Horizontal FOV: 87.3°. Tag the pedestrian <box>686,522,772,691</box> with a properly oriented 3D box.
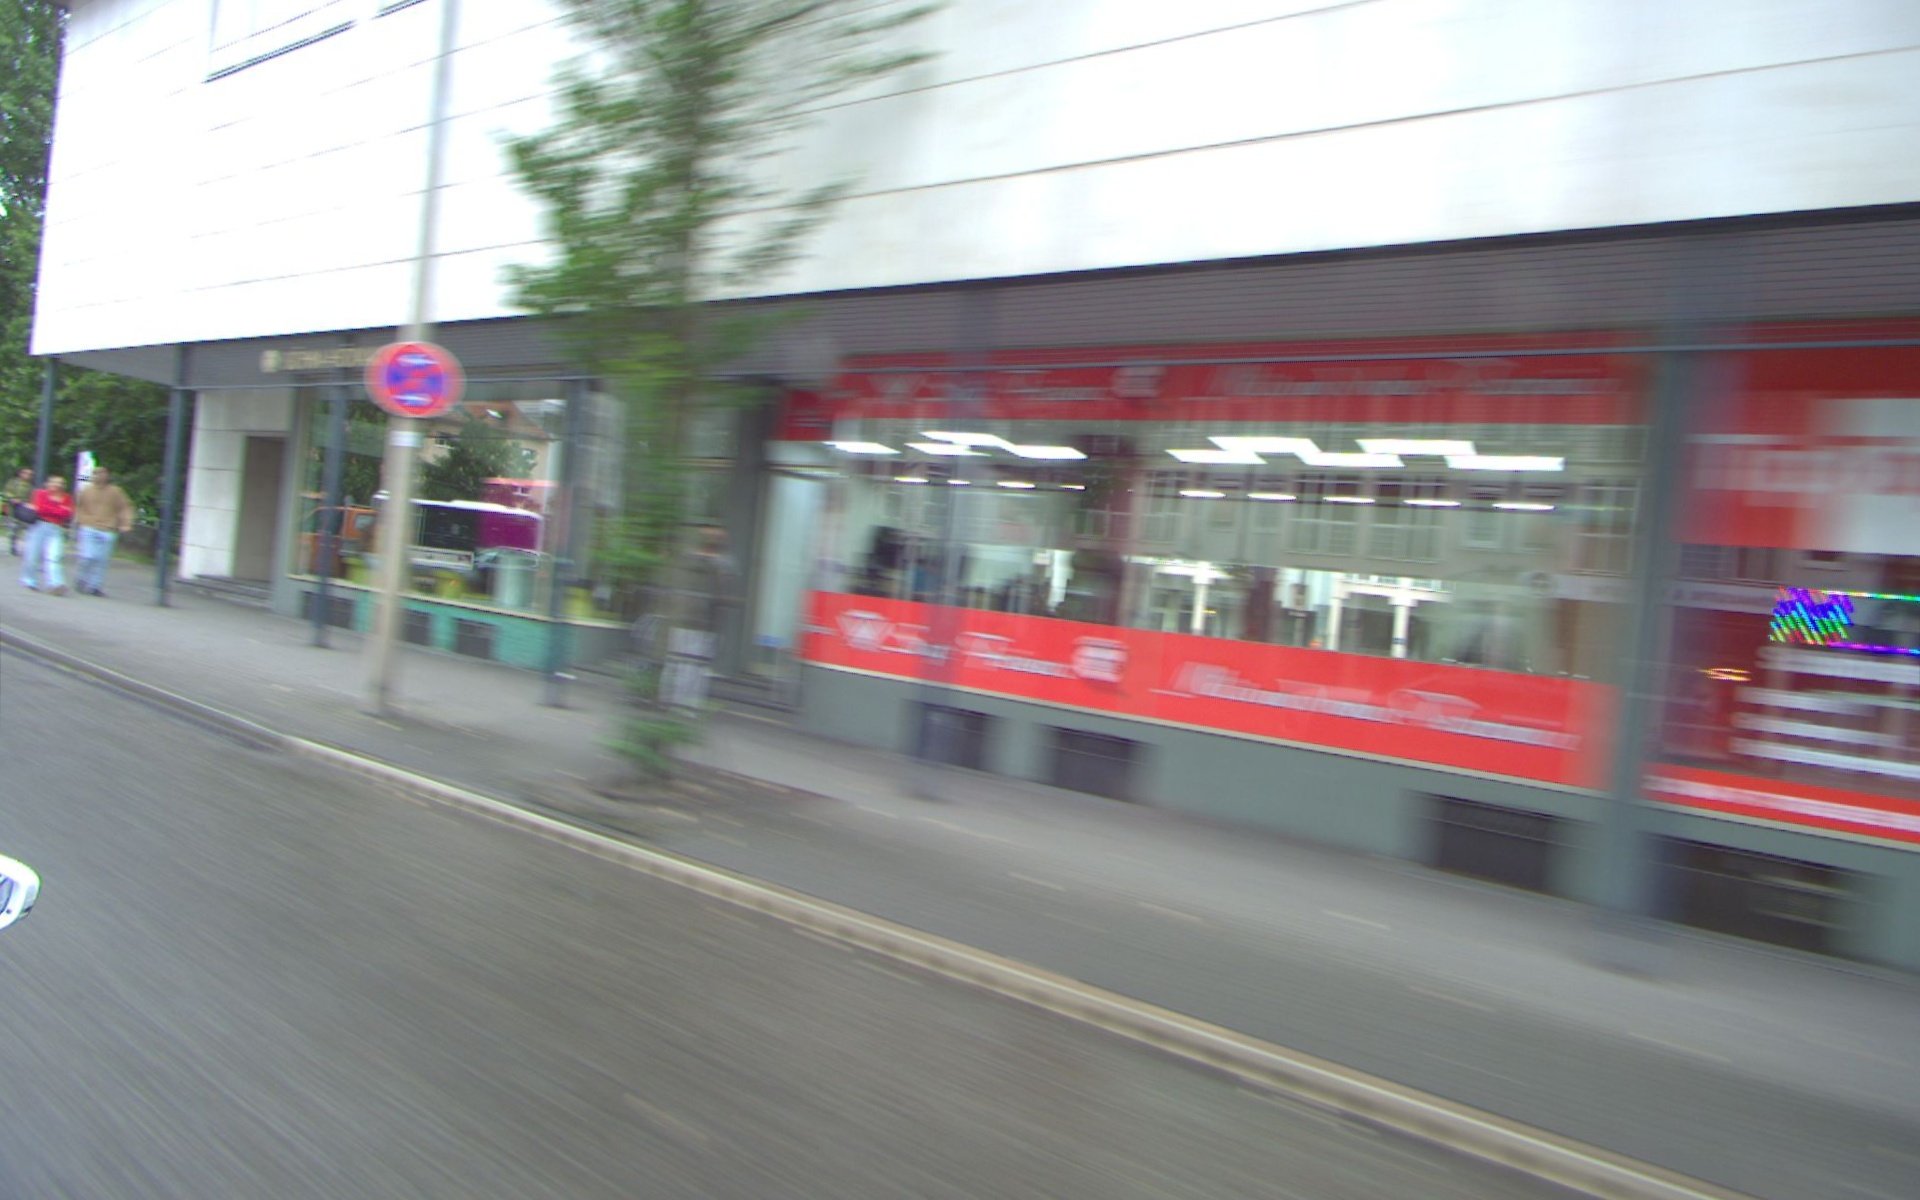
[{"bbox_3d":[-2.493,0.073,10.861,0.527,1.740,0.535,8,2,42],"label":"pedestrian"}]

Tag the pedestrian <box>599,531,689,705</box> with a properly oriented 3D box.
[{"bbox_3d":[-3.295,0.192,10.505,0.527,1.740,0.535,8,2,40],"label":"pedestrian"}]

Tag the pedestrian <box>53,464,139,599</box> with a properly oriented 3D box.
[{"bbox_3d":[-12.348,-0.971,14.383,0.596,1.825,0.698,7,2,31],"label":"pedestrian"}]

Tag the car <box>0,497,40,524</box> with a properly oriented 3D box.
[{"bbox_3d":[-66.607,-6.355,69.418,1.775,1.641,4.129,7,0,28],"label":"car"}]

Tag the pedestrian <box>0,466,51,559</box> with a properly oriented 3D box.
[{"bbox_3d":[-17.284,-1.611,18.433,0.596,1.610,0.726,7,2,31],"label":"pedestrian"}]

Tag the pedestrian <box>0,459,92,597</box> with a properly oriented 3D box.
[{"bbox_3d":[-12.685,-0.990,13.950,0.907,1.790,0.653,7,2,31],"label":"pedestrian"}]

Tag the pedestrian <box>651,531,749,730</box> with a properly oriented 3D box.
[{"bbox_3d":[-2.521,0.295,9.759,0.527,1.843,0.535,8,2,40],"label":"pedestrian"}]
